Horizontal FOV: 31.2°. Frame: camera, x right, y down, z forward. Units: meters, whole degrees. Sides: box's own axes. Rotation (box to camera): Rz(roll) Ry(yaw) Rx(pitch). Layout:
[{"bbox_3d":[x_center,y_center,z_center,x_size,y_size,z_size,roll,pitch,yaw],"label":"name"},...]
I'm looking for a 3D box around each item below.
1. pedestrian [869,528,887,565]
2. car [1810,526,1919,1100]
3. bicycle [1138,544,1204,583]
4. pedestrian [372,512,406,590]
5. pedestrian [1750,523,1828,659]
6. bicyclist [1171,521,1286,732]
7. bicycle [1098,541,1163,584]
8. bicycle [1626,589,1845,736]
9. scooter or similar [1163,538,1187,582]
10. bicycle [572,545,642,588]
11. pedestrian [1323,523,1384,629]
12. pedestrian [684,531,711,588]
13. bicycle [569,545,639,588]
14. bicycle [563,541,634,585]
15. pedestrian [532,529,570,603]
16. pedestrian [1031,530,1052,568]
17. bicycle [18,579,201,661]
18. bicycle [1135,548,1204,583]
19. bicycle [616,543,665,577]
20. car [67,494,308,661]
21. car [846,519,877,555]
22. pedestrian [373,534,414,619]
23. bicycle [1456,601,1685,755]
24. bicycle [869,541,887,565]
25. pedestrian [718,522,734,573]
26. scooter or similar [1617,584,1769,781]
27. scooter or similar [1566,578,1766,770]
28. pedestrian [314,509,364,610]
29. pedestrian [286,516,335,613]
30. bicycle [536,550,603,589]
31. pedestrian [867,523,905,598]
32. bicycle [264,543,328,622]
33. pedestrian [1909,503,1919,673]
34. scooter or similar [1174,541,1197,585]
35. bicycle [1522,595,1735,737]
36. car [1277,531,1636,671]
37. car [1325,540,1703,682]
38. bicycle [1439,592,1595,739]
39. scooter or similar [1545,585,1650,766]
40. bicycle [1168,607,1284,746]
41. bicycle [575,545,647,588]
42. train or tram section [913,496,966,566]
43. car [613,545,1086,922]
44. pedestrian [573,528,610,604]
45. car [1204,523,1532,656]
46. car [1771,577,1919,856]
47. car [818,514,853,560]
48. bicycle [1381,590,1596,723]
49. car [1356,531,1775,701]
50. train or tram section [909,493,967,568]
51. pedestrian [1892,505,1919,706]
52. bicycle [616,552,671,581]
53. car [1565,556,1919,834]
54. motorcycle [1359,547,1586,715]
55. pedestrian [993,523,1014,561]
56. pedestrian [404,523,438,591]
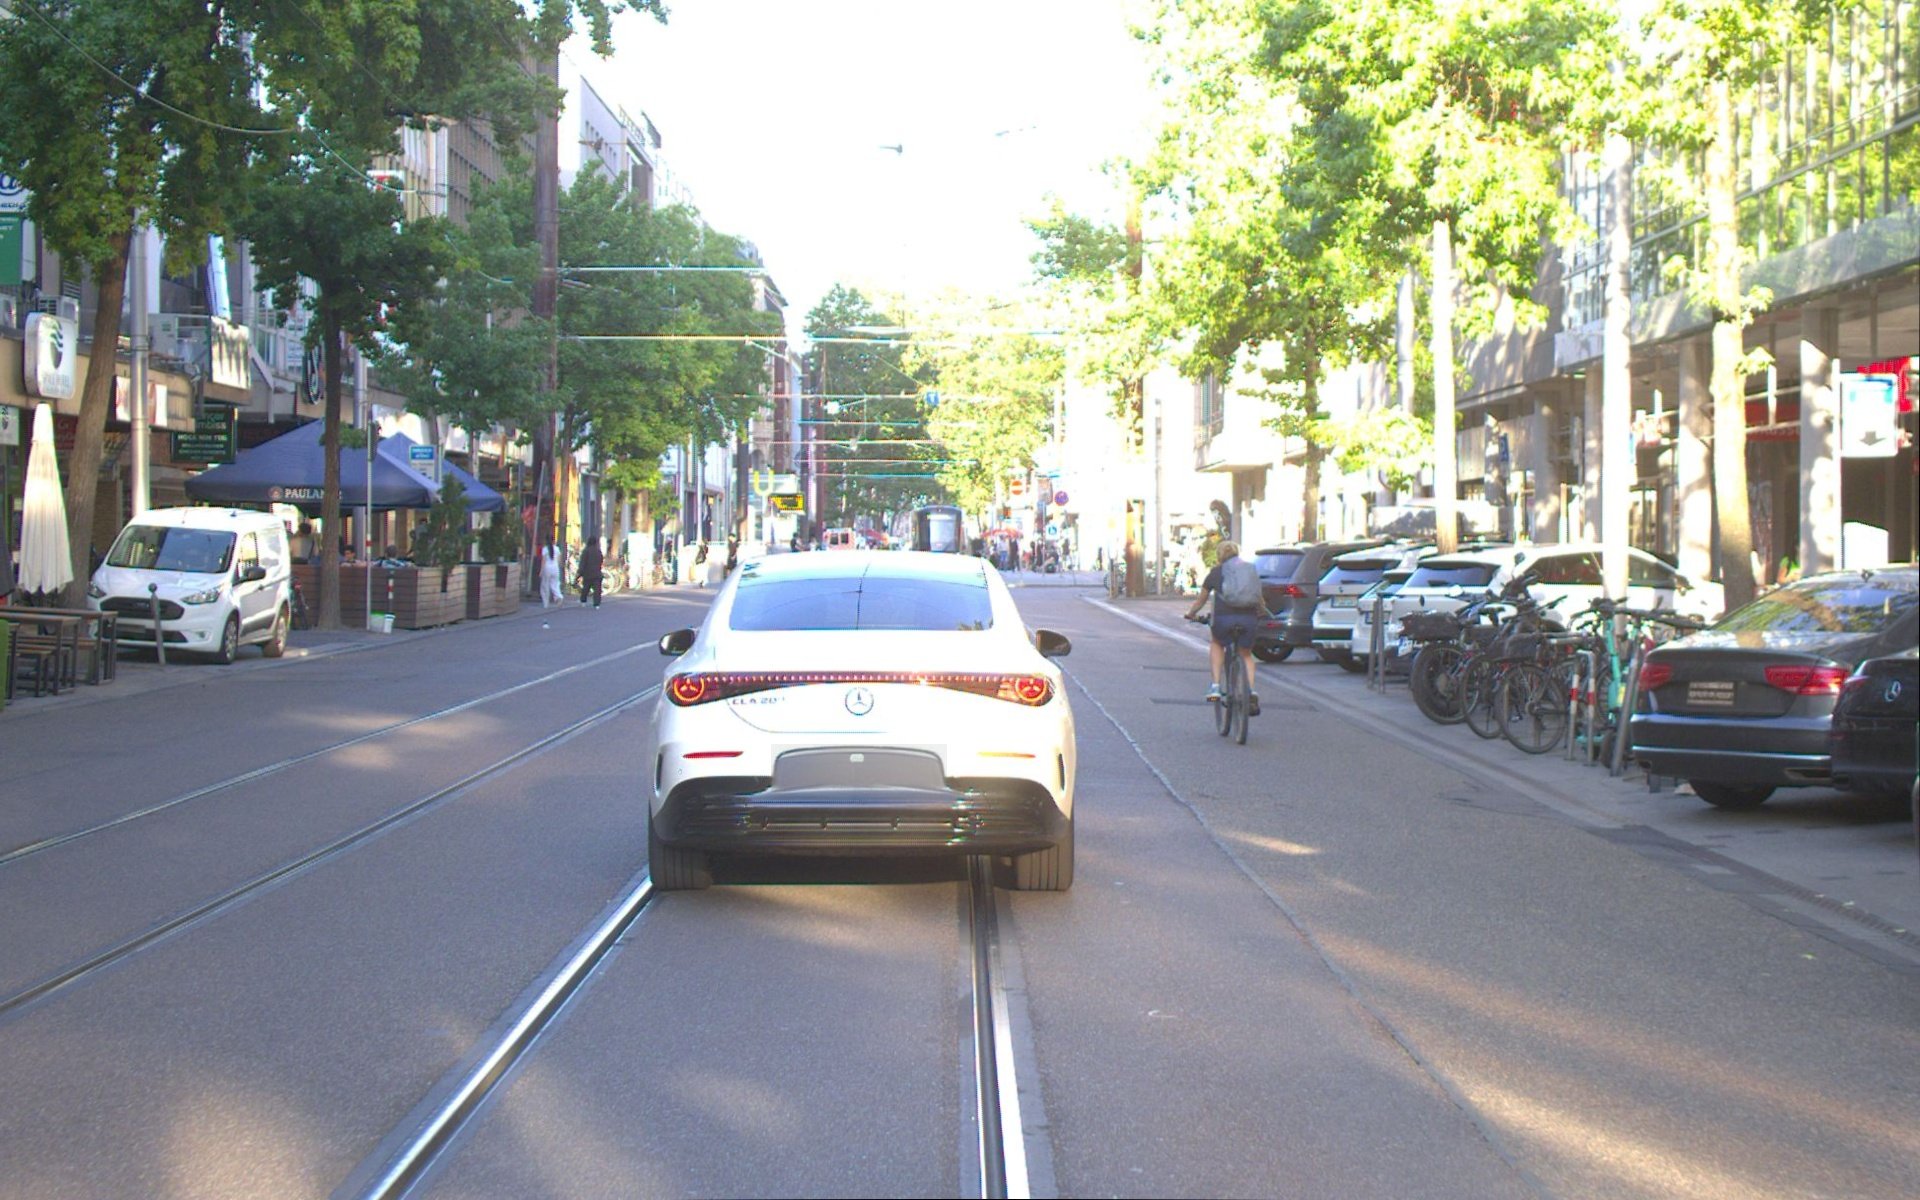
[{"bbox_3d":[-3.943,-2.584,166.087,0.800,1.776,0.849,2,1,-1],"label":"pedestrian"},{"bbox_3d":[5.242,0.556,11.160,4.651,1.757,1.995,-3,1,-29],"label":"car"},{"bbox_3d":[6.495,-1.118,105.764,1.908,1.152,0.610,-2,1,-11],"label":"bicycle"},{"bbox_3d":[-12.985,-1.112,78.239,0.597,1.739,0.671,2,1,1],"label":"pedestrian"},{"bbox_3d":[10.034,-0.114,41.628,0.714,1.618,0.882,-1,1,1],"label":"pedestrian"},{"bbox_3d":[2.135,0.197,27.264,0.778,1.607,0.912,2,1,9],"label":"bicyclist"},{"bbox_3d":[5.288,-1.153,106.581,1.908,1.277,0.610,-2,1,-11],"label":"bicycle"},{"bbox_3d":[6.349,0.495,28.125,1.669,1.071,0.733,-4,3,-30],"label":"bicycle"},{"bbox_3d":[6.356,-1.181,101.788,0.527,1.273,0.660,-2,1,-11],"label":"scooter or similar"},{"bbox_3d":[-9.195,-0.871,89.578,1.788,1.073,0.377,2,1,-4],"label":"bicycle"},{"bbox_3d":[6.360,-0.382,55.562,0.680,1.679,0.695,-1,1,34],"label":"pedestrian"},{"bbox_3d":[-8.350,-1.286,109.333,0.788,1.795,0.844,0,1,1],"label":"pedestrian"},{"bbox_3d":[-9.227,-0.867,89.136,1.788,1.073,0.377,2,1,-4],"label":"bicycle"},{"bbox_3d":[-9.799,-0.993,93.293,1.846,1.137,0.377,2,1,2],"label":"bicycle"},{"bbox_3d":[-8.531,-0.717,71.675,0.622,1.504,0.833,3,1,1],"label":"pedestrian"},{"bbox_3d":[3.872,-2.431,163.506,0.960,1.779,0.804,-1,1,0],"label":"pedestrian"},{"bbox_3d":[-9.631,0.228,38.967,0.836,0.862,1.856,4,2,39],"label":"bicycle"},{"bbox_3d":[6.639,-1.105,108.889,2.113,1.092,0.610,0,1,-12],"label":"bicycle"},{"bbox_3d":[-10.061,-1.273,108.369,1.492,1.025,0.345,1,1,-10],"label":"bicycle"},{"bbox_3d":[-9.440,-0.310,42.365,1.795,1.858,4.553,3,1,1],"label":"car"},{"bbox_3d":[-6.774,-4.347,236.442,1.910,2.452,5.275,0,1,0],"label":"car"},{"bbox_3d":[-9.139,-0.382,55.472,0.549,1.352,0.583,1,1,-1],"label":"pedestrian"},{"bbox_3d":[4.844,0.599,27.268,1.558,1.084,0.869,-4,3,-30],"label":"bicycle"},{"bbox_3d":[-3.953,-2.266,166.052,0.800,1.138,2.257,2,1,-1],"label":"bicycle"},{"bbox_3d":[-8.829,-1.983,129.665,0.539,1.922,0.573,0,1,4],"label":"pedestrian"},{"bbox_3d":[5.111,0.563,23.931,0.458,1.272,1.304,-3,1,37],"label":"scooter or similar"},{"bbox_3d":[5.066,0.520,24.664,1.302,1.272,0.564,-4,1,-31],"label":"scooter or similar"},{"bbox_3d":[-10.749,-0.705,59.506,0.717,1.718,0.675,1,1,-1],"label":"pedestrian"},{"bbox_3d":[-10.900,-0.603,57.694,0.673,1.601,0.720,1,1,-1],"label":"pedestrian"},{"bbox_3d":[-9.795,-0.759,86.207,1.596,0.927,0.377,2,1,7],"label":"bicycle"},{"bbox_3d":[-1.793,-0.960,83.663,0.841,1.795,0.790,2,1,1],"label":"pedestrian"},{"bbox_3d":[-10.315,-0.281,53.376,0.697,1.117,2.087,3,2,-18],"label":"bicycle"},{"bbox_3d":[10.102,-0.127,35.223,0.557,1.744,0.525,-2,1,0],"label":"pedestrian"},{"bbox_3d":[6.639,-1.098,101.213,0.491,1.273,0.660,-2,1,-11],"label":"scooter or similar"},{"bbox_3d":[5.684,0.549,29.225,1.689,1.102,0.632,-3,1,-26],"label":"bicycle"},{"bbox_3d":[6.326,-0.010,43.676,4.235,1.582,1.884,-3,1,-31],"label":"car"},{"bbox_3d":[6.595,0.105,40.925,4.145,1.494,1.689,-2,1,-23],"label":"car"},{"bbox_3d":[4.796,0.551,29.515,0.481,1.159,1.691,-2,1,40],"label":"bicycle"},{"bbox_3d":[4.741,0.543,25.611,0.450,1.272,1.307,-3,1,-1],"label":"scooter or similar"},{"bbox_3d":[2.133,0.589,27.354,0.719,0.992,2.058,2,1,9],"label":"bicycle"},{"bbox_3d":[-9.217,-0.883,90.822,1.846,1.073,0.377,2,1,-4],"label":"bicycle"},{"bbox_3d":[-1.033,-3.601,179.707,2.694,3.504,12.546,0,1,0],"label":"train or tram section"},{"bbox_3d":[-0.449,0.502,15.802,1.857,1.450,4.175,1,1,0],"label":"car"},{"bbox_3d":[-7.743,-0.716,72.224,0.622,1.545,0.852,3,1,1],"label":"pedestrian"},{"bbox_3d":[5.667,-0.160,47.605,4.342,1.646,1.695,-3,1,-31],"label":"car"},{"bbox_3d":[7.026,0.537,18.964,4.650,1.421,1.934,-2,1,-21],"label":"car"},{"bbox_3d":[-7.895,-4.012,217.787,1.993,2.887,5.275,0,1,0],"label":"car"},{"bbox_3d":[4.844,0.509,31.463,1.890,1.116,0.667,-3,1,-29],"label":"bicycle"},{"bbox_3d":[6.402,0.135,36.226,4.146,1.566,1.854,-3,2,-33],"label":"car"},{"bbox_3d":[-1.033,-3.362,167.155,2.694,3.504,12.546,0,1,0],"label":"train or tram section"},{"bbox_3d":[8.354,0.043,29.135,0.678,1.690,0.550,0,1,-12],"label":"pedestrian"},{"bbox_3d":[-9.015,-0.943,97.925,1.493,0.780,0.344,2,1,2],"label":"bicycle"},{"bbox_3d":[6.319,0.468,21.513,5.046,1.464,1.977,-3,1,-36],"label":"car"},{"bbox_3d":[4.941,0.287,33.026,2.313,1.504,0.858,-3,1,-43],"label":"motorcycle"},{"bbox_3d":[2.080,-2.799,165.488,0.960,1.779,0.804,-1,1,0],"label":"pedestrian"},{"bbox_3d":[-12.250,-0.986,78.146,0.597,1.527,0.671,2,1,1],"label":"pedestrian"}]
